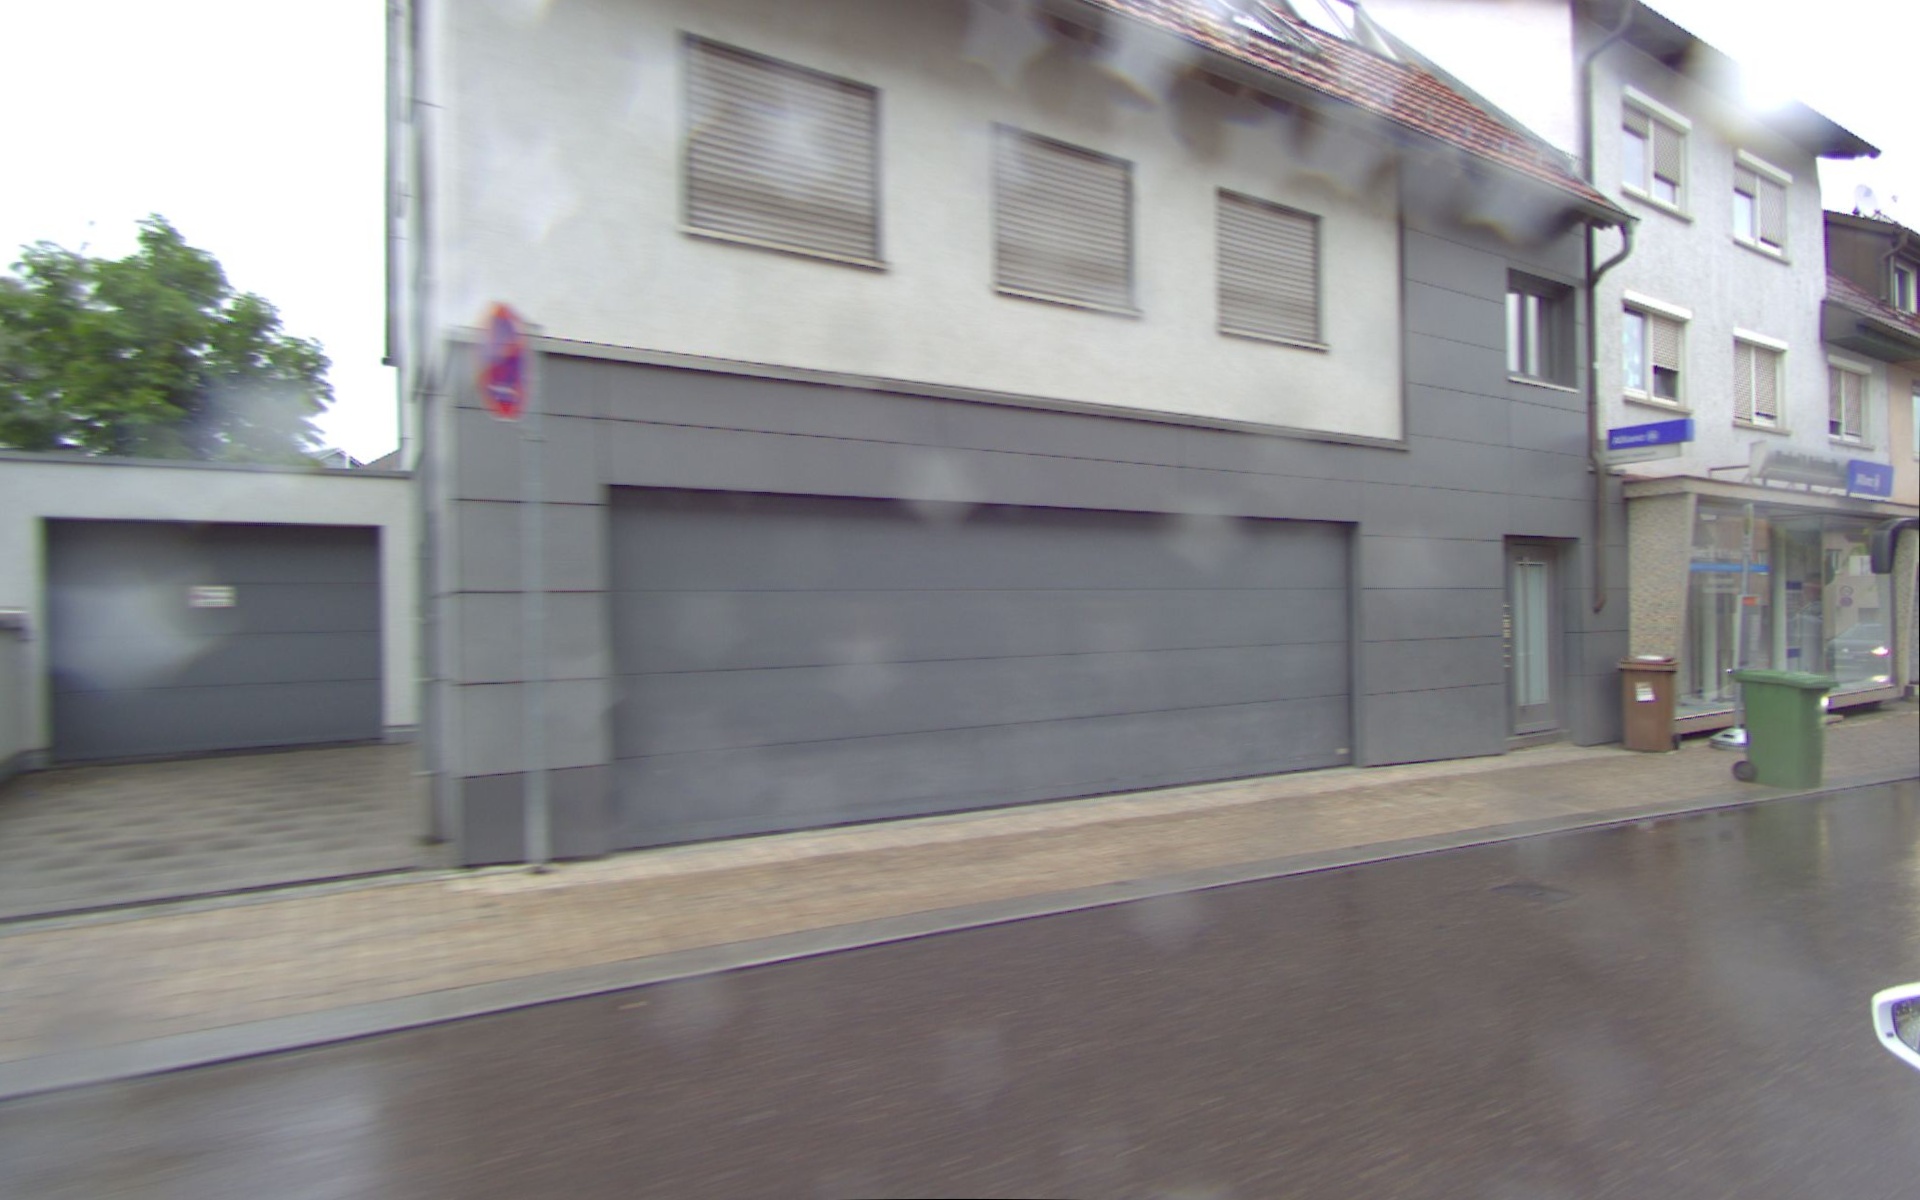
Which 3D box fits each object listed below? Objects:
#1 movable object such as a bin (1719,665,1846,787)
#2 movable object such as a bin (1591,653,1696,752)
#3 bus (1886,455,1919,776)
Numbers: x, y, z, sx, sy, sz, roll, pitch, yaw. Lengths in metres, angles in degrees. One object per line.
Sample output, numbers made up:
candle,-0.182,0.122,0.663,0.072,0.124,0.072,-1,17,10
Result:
movable object such as a bin,7.920,1.183,9.682,0.718,1.073,0.737,1,0,-31
movable object such as a bin,7.973,1.170,11.725,0.693,1.073,0.789,1,0,-31
bus,14.608,0.218,11.238,10.805,3.121,2.714,1,0,-27
